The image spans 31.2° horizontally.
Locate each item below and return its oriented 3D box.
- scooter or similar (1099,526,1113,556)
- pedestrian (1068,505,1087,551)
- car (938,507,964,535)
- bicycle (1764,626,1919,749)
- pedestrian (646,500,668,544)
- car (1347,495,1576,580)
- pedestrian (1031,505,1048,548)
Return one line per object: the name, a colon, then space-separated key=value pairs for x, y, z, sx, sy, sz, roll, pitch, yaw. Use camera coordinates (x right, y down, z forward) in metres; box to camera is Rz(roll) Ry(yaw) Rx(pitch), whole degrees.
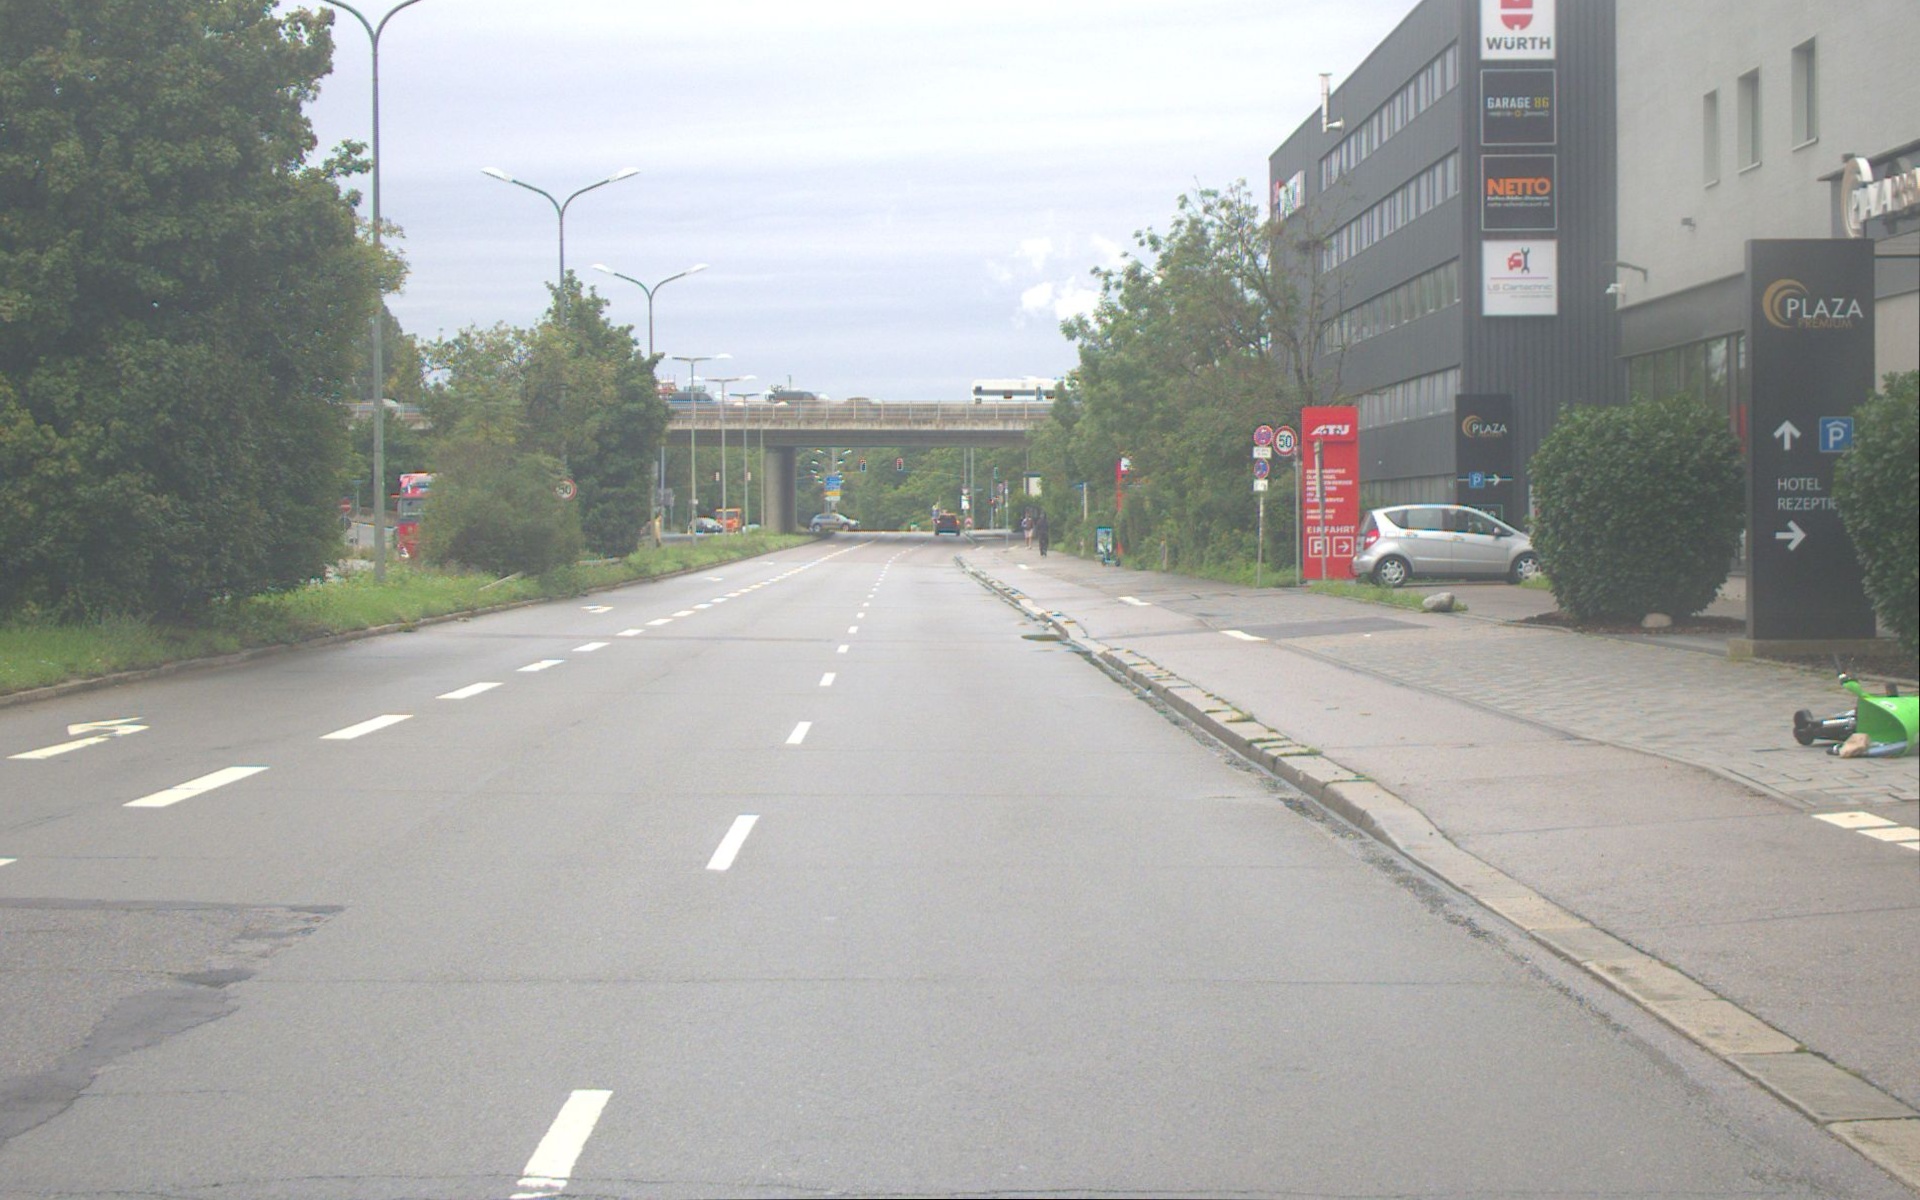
scooter or similar: x=4.957 y=-1.992 z=116.707 sx=0.304 sy=1.000 sz=1.220 roll=-2 pitch=2 yaw=-3
pedestrian: x=4.804 y=-2.945 z=140.094 sx=0.689 sy=1.869 sz=0.662 roll=-2 pitch=1 yaw=-1
car: x=-0.671 y=-5.746 z=249.444 sx=1.812 sy=2.006 sz=3.834 roll=1 pitch=2 yaw=1
bicycle: x=5.066 y=0.471 z=19.133 sx=0.720 sy=0.547 sz=1.732 roll=-4 pitch=2 yaw=-1
pedestrian: x=-11.407 y=-2.941 z=129.368 sx=0.660 sy=1.611 sz=0.691 roll=-2 pitch=1 yaw=4
car: x=9.504 y=-1.202 z=65.372 sx=4.013 sy=1.552 sz=1.820 roll=0 pitch=2 yaw=-3
pedestrian: x=3.462 y=-3.195 z=149.679 sx=0.689 sy=1.869 sz=0.662 roll=-2 pitch=1 yaw=-1
